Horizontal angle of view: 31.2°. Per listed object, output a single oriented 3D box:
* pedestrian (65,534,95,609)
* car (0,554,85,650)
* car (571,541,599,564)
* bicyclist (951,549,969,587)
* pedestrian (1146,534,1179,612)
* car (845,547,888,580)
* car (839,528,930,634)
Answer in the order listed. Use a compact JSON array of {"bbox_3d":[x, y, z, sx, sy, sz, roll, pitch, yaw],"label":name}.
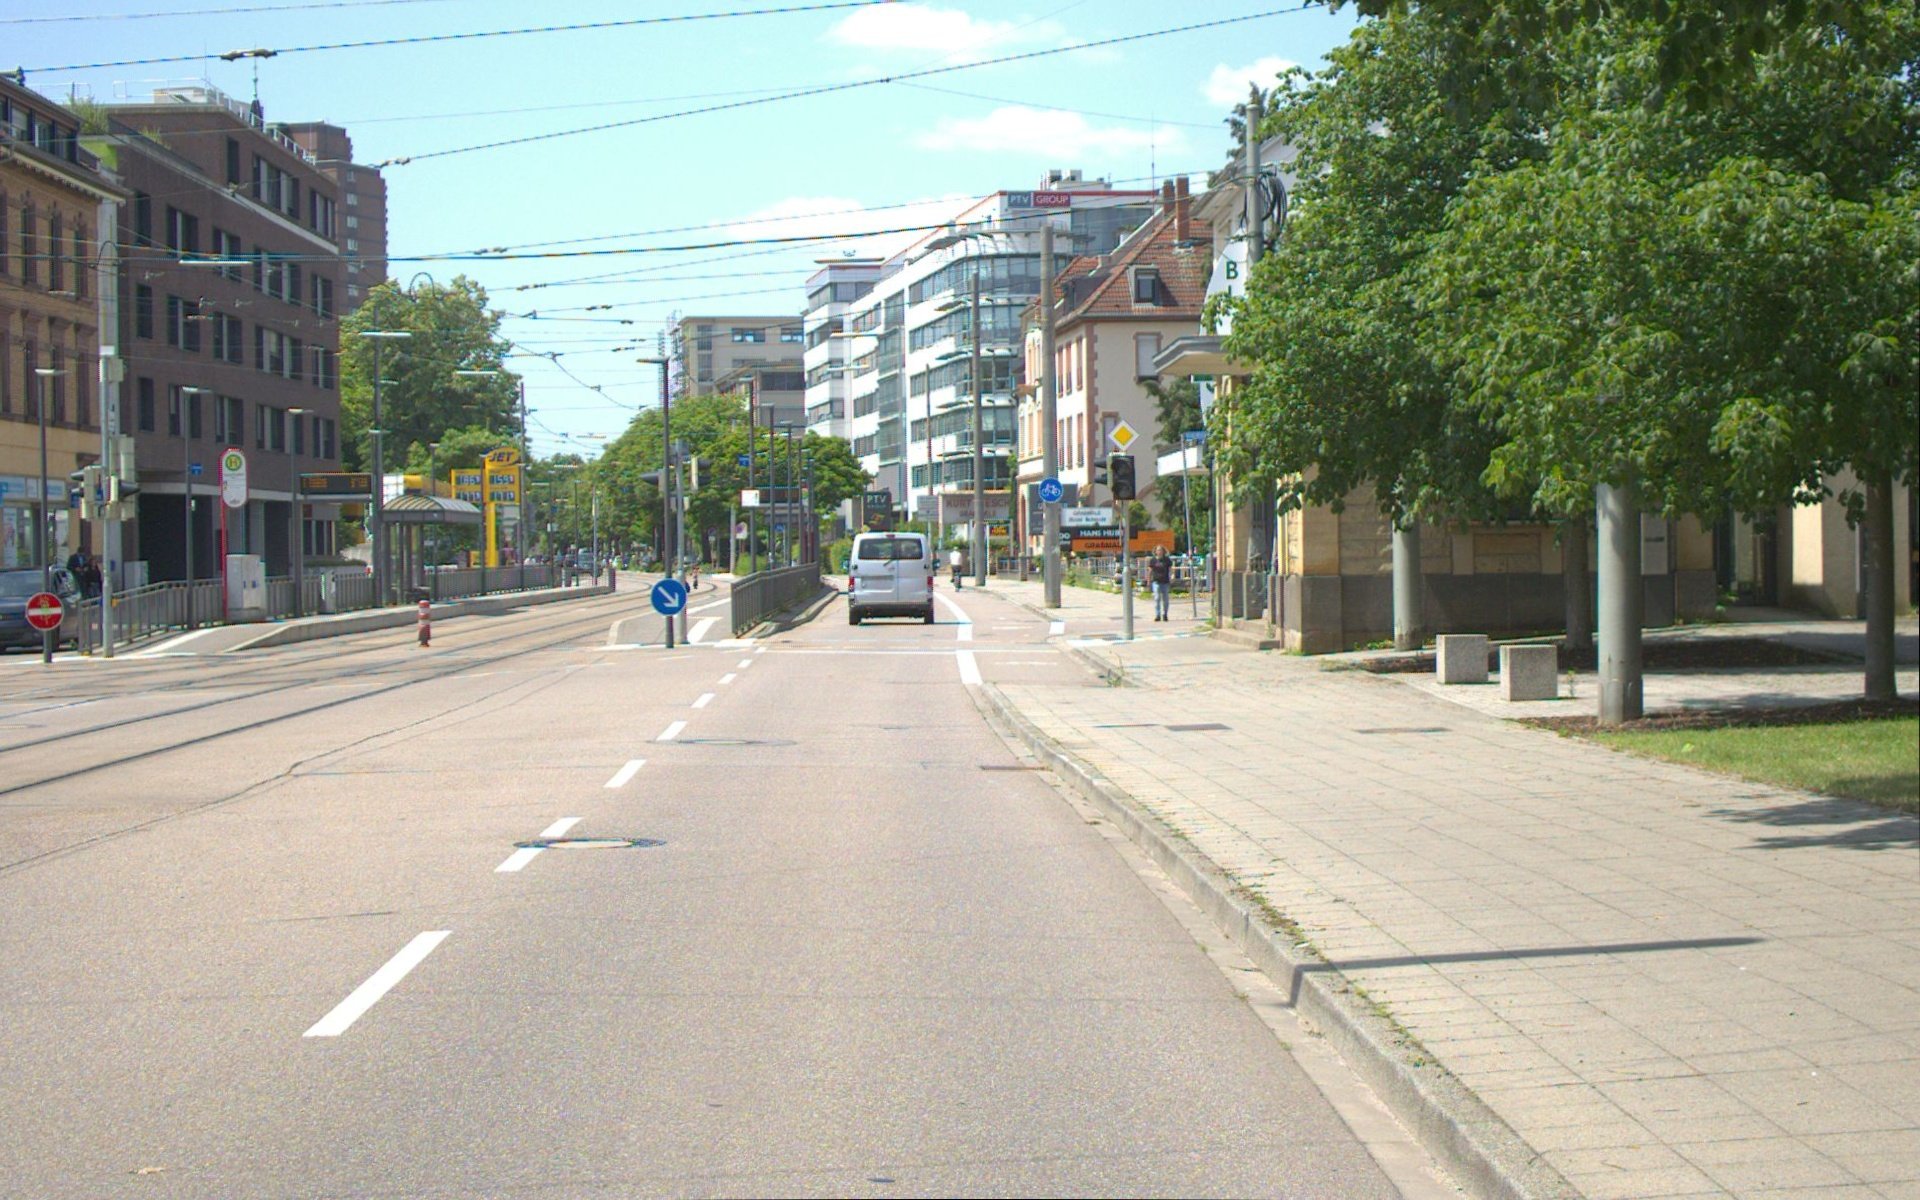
[{"bbox_3d":[-23.848,-0.773,93.169,0.617,2.007,0.810,-1,1,-3],"label":"pedestrian"},{"bbox_3d":[-17.671,0.015,64.400,1.723,1.677,4.280,-1,1,-4],"label":"car"},{"bbox_3d":[-27.073,-3.426,248.014,1.698,1.610,3.759,-1,1,-11],"label":"car"},{"bbox_3d":[-0.013,-1.169,125.484,0.591,1.392,0.842,0,1,-5],"label":"bicyclist"},{"bbox_3d":[4.062,-0.542,68.968,0.577,1.551,0.786,-2,0,2],"label":"pedestrian"},{"bbox_3d":[-5.070,-1.987,185.657,1.863,1.681,5.001,-1,1,-6],"label":"car"},{"bbox_3d":[-1.523,-0.422,69.708,1.752,2.006,4.001,-2,2,-1],"label":"car"}]
